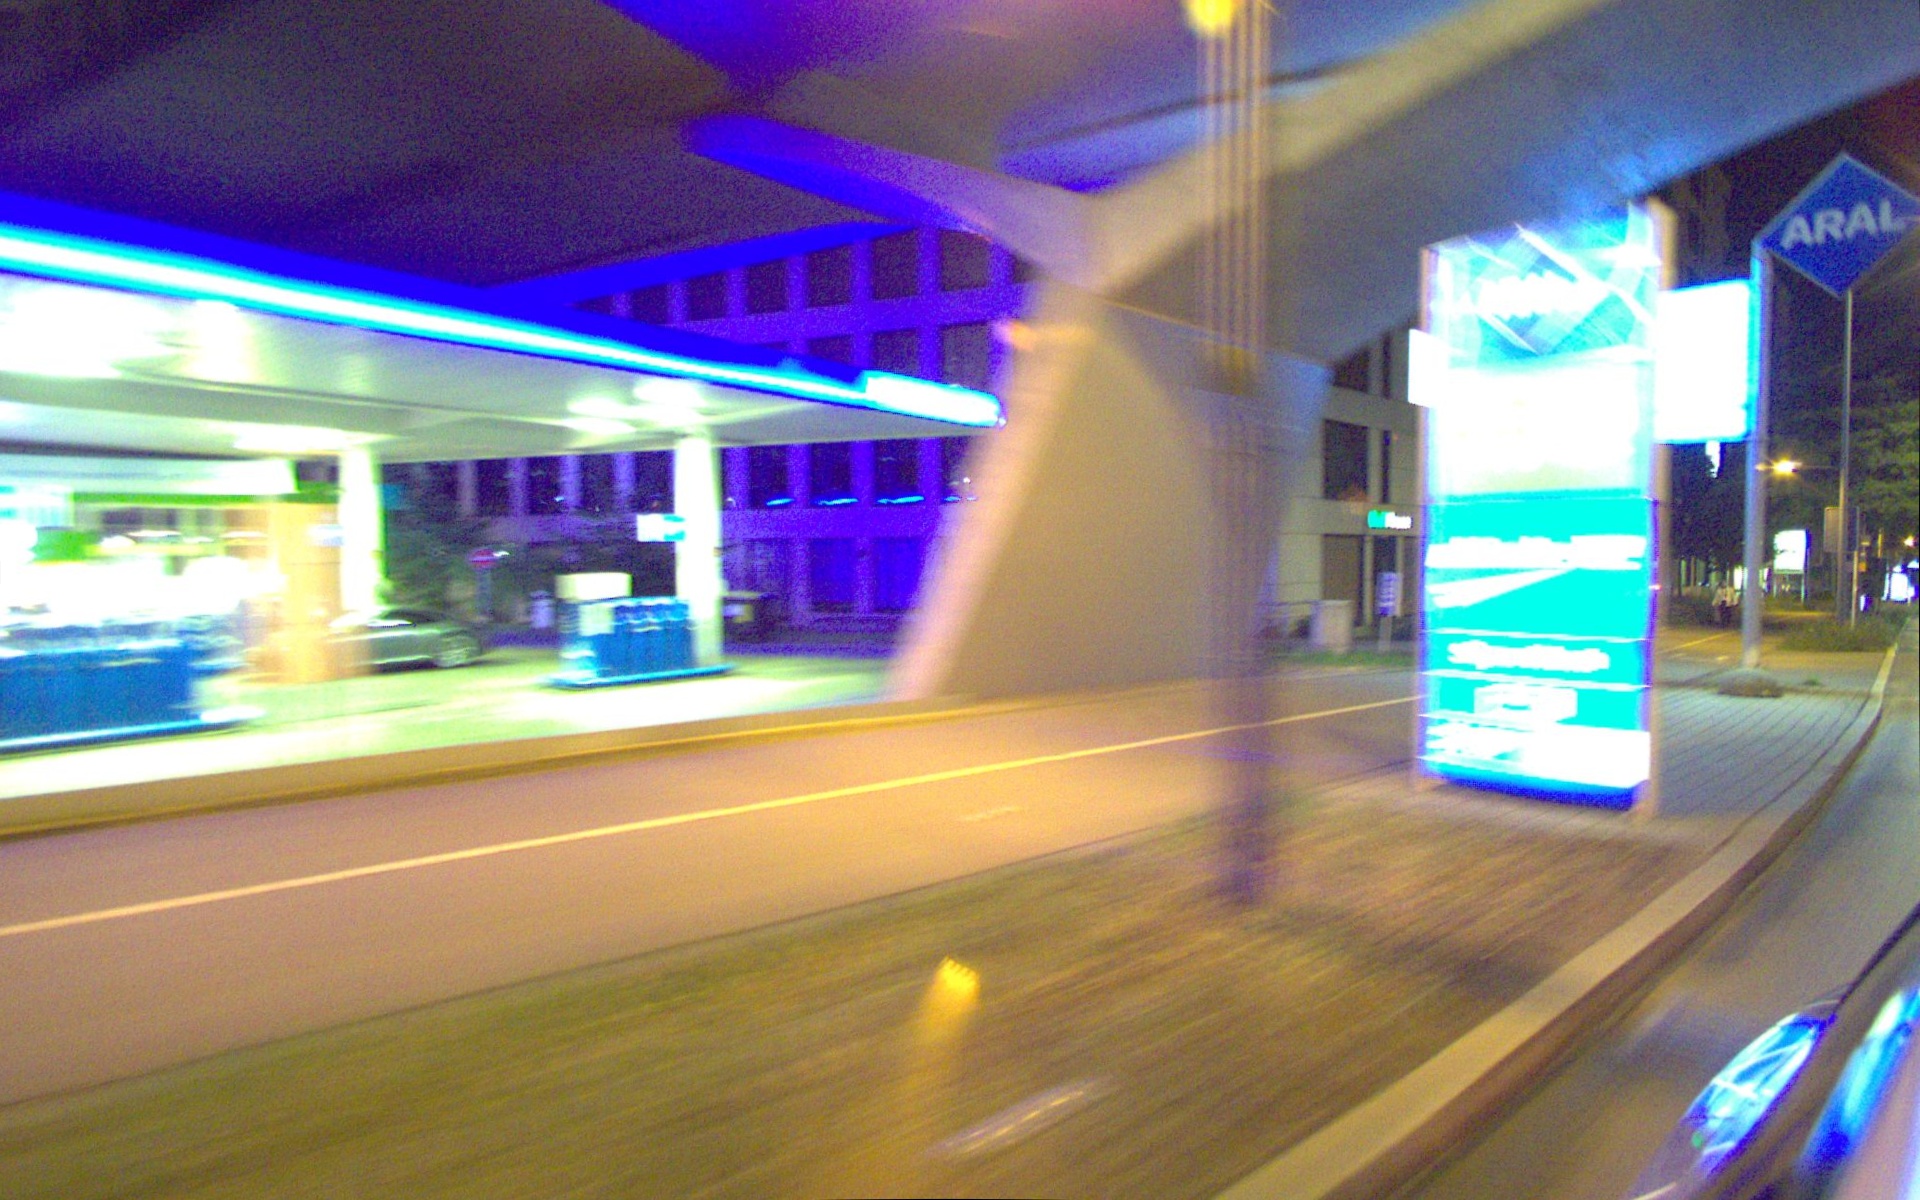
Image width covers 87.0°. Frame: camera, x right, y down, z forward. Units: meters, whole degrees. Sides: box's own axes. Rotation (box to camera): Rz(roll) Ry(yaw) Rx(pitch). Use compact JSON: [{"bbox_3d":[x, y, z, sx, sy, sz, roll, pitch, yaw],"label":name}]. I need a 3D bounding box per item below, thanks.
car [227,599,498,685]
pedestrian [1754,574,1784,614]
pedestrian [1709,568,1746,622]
[{"bbox_3d":[-11.766,0.749,20.157,1.924,1.380,4.272,1,2,40],"label":"car"},{"bbox_3d":[36.847,-0.275,46.119,0.942,1.727,0.853,-2,6,-45],"label":"pedestrian"},{"bbox_3d":[28.505,-0.184,37.601,0.778,1.936,0.807,0,3,-36],"label":"pedestrian"}]
